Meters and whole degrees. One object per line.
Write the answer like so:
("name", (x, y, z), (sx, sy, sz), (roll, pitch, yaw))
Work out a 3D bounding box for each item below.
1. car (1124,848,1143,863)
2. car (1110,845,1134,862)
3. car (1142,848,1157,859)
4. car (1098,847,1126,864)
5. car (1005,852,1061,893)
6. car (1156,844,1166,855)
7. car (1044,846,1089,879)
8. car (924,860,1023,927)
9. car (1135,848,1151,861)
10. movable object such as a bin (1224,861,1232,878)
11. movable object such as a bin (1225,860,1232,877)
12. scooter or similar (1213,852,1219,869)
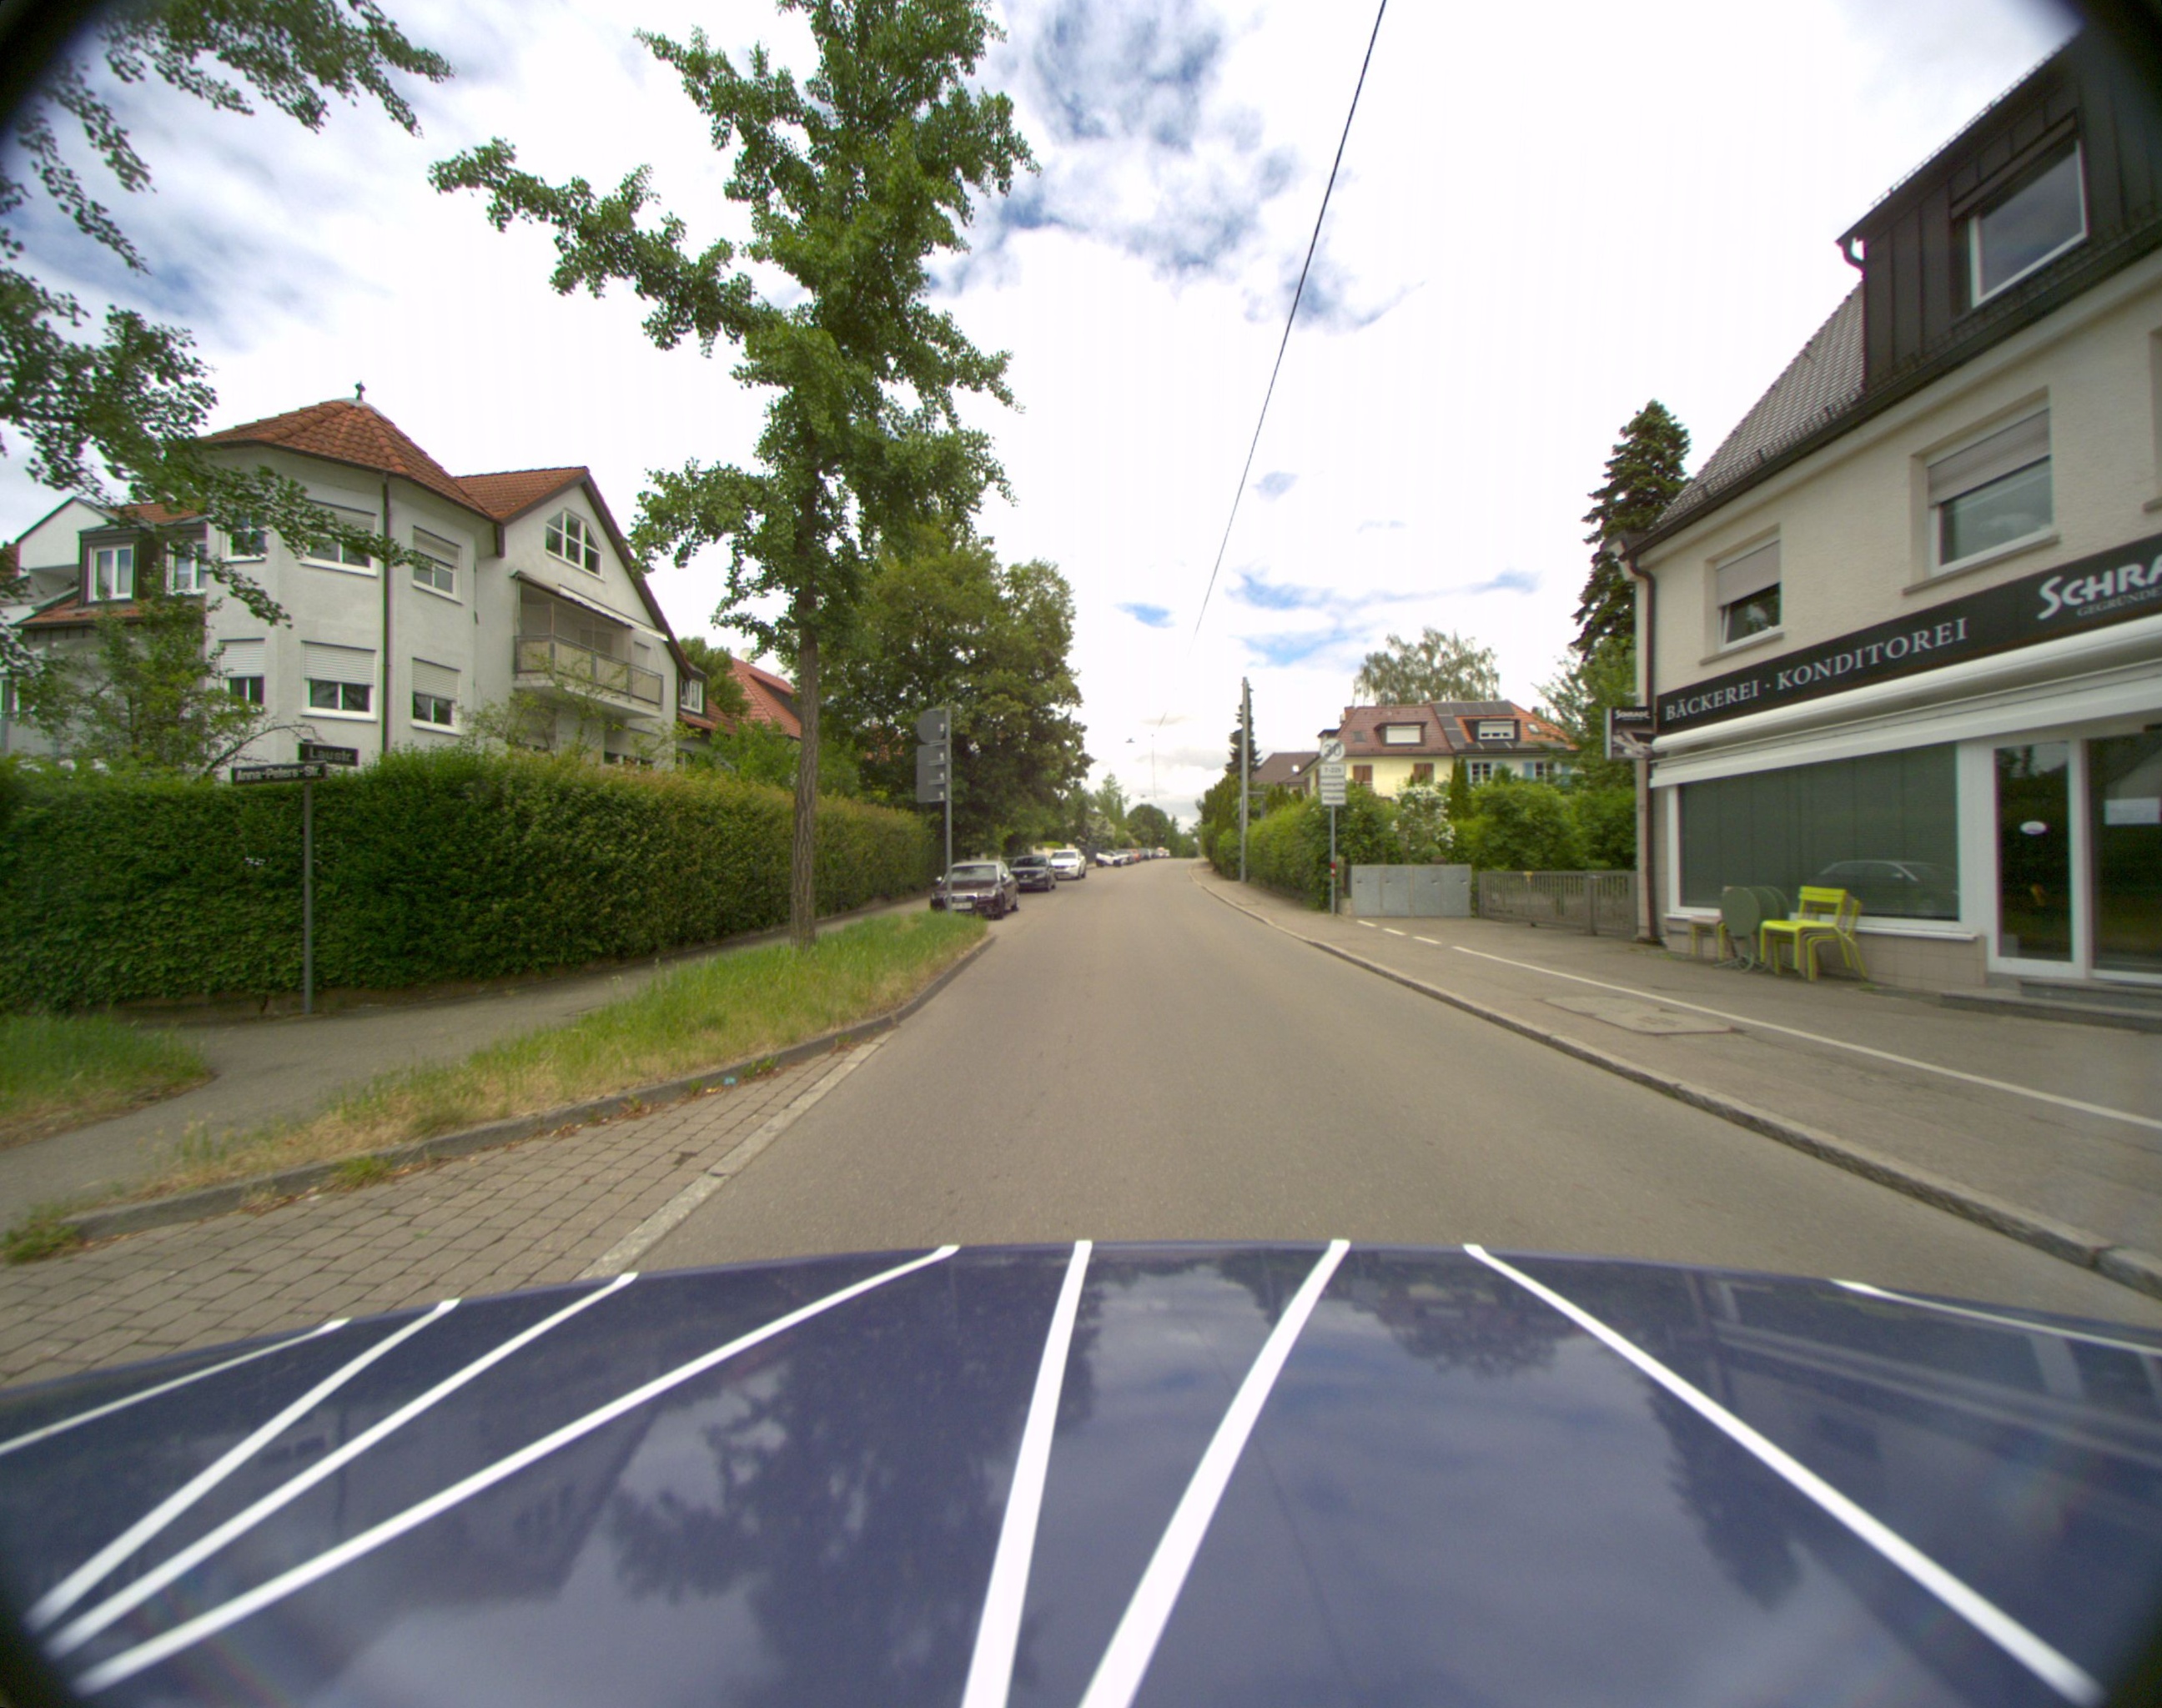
("car", (6.110, 0.106, 88.202), (1.854, 1.617, 4.172), (-2, 1, 8))
("car", (4.137, -0.099, 76.117), (1.832, 1.614, 4.494), (-1, 1, 9))
("car", (10.258, -0.111, 113.484), (1.804, 1.582, 4.144), (0, 0, 10))
("car", (2.770, 0.113, 67.469), (2.290, 1.515, 1.319), (0, 0, 14))
("car", (-1.867, 0.697, 30.346), (1.713, 1.479, 3.791), (-1, 1, 4))
("car", (16.804, -1.023, 160.268), (1.853, 2.211, 5.371), (-2, 0, 7))
("car", (-0.720, 0.440, 41.310), (1.869, 1.675, 4.352), (-1, 1, 7))
("car", (-2.589, 0.925, 19.198), (1.713, 1.404, 3.791), (-2, 1, 3))
("car", (8.253, 0.033, 101.337), (1.954, 1.617, 4.378), (-2, 1, 7))
("movable object such as a bin", (7.513, 0.790, 38.889), (0.337, 0.888, 0.476), (-1, 1, 9))
("movable object such as a bin", (7.764, 0.769, 40.064), (0.337, 0.888, 0.476), (-1, 1, 9))
("scooter or similar", (9.178, 0.441, 51.695), (0.392, 1.164, 1.271), (-1, 1, 8))
